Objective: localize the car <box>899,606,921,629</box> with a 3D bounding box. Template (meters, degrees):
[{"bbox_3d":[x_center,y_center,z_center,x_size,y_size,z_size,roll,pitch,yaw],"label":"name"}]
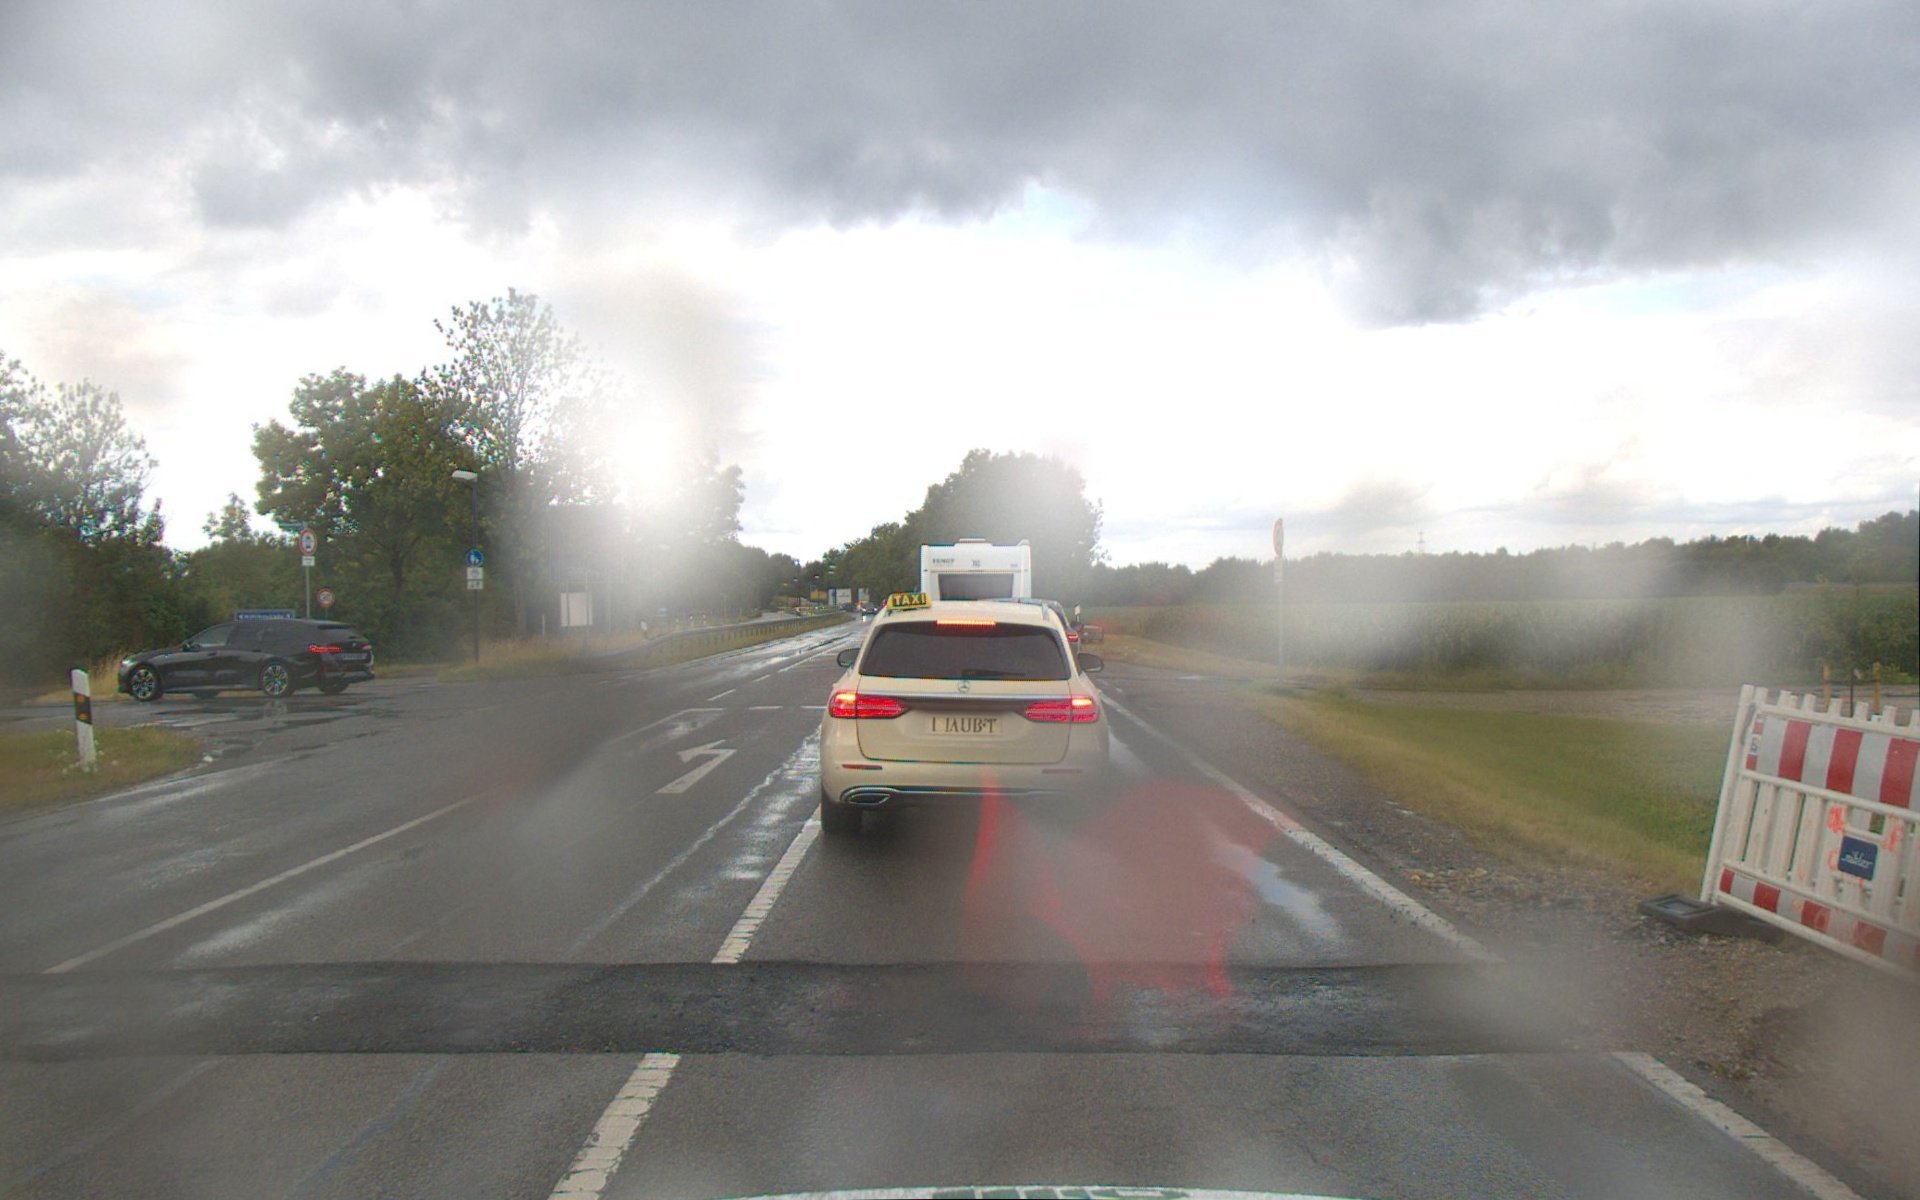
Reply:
[{"bbox_3d":[-4.026,1.431,133.901,1.755,1.808,3.720,-1,0,-1],"label":"car"}]

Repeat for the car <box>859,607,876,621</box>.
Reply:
[{"bbox_3d":[-11.004,1.710,196.240,1.791,1.601,3.999,1,0,0],"label":"car"}]

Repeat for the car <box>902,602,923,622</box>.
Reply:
[{"bbox_3d":[-4.278,1.107,150.704,1.841,1.792,3.833,-1,0,-1],"label":"car"}]

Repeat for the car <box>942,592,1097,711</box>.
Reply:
[{"bbox_3d":[0.739,0.672,23.132,1.953,1.488,3.999,1,0,-1],"label":"car"}]

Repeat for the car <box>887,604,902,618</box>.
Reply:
[{"bbox_3d":[-8.038,1.309,202.961,1.715,1.691,3.668,-1,0,-5],"label":"car"}]

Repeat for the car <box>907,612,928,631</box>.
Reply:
[{"bbox_3d":[-4.151,2.093,162.558,1.953,1.803,4.000,-1,0,0],"label":"car"}]

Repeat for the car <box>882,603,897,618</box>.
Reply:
[{"bbox_3d":[-9.071,1.364,213.338,1.858,1.928,3.840,-1,0,-4],"label":"car"}]

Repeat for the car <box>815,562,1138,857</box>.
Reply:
[{"bbox_3d":[0.069,0.624,11.307,1.805,1.646,3.999,0,0,-1],"label":"car"}]

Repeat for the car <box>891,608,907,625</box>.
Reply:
[{"bbox_3d":[-6.949,1.858,188.646,1.705,1.892,3.784,-1,0,-1],"label":"car"}]

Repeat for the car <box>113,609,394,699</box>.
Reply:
[{"bbox_3d":[-13.743,1.017,32.317,4.518,1.574,2.311,1,0,12],"label":"car"}]

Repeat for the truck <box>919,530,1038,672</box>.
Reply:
[{"bbox_3d":[0.313,0.025,36.584,2.315,2.776,7.312,-1,0,-1],"label":"truck"}]

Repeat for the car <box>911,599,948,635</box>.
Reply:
[{"bbox_3d":[-1.605,0.901,89.101,1.876,1.873,3.795,-1,0,0],"label":"car"}]
